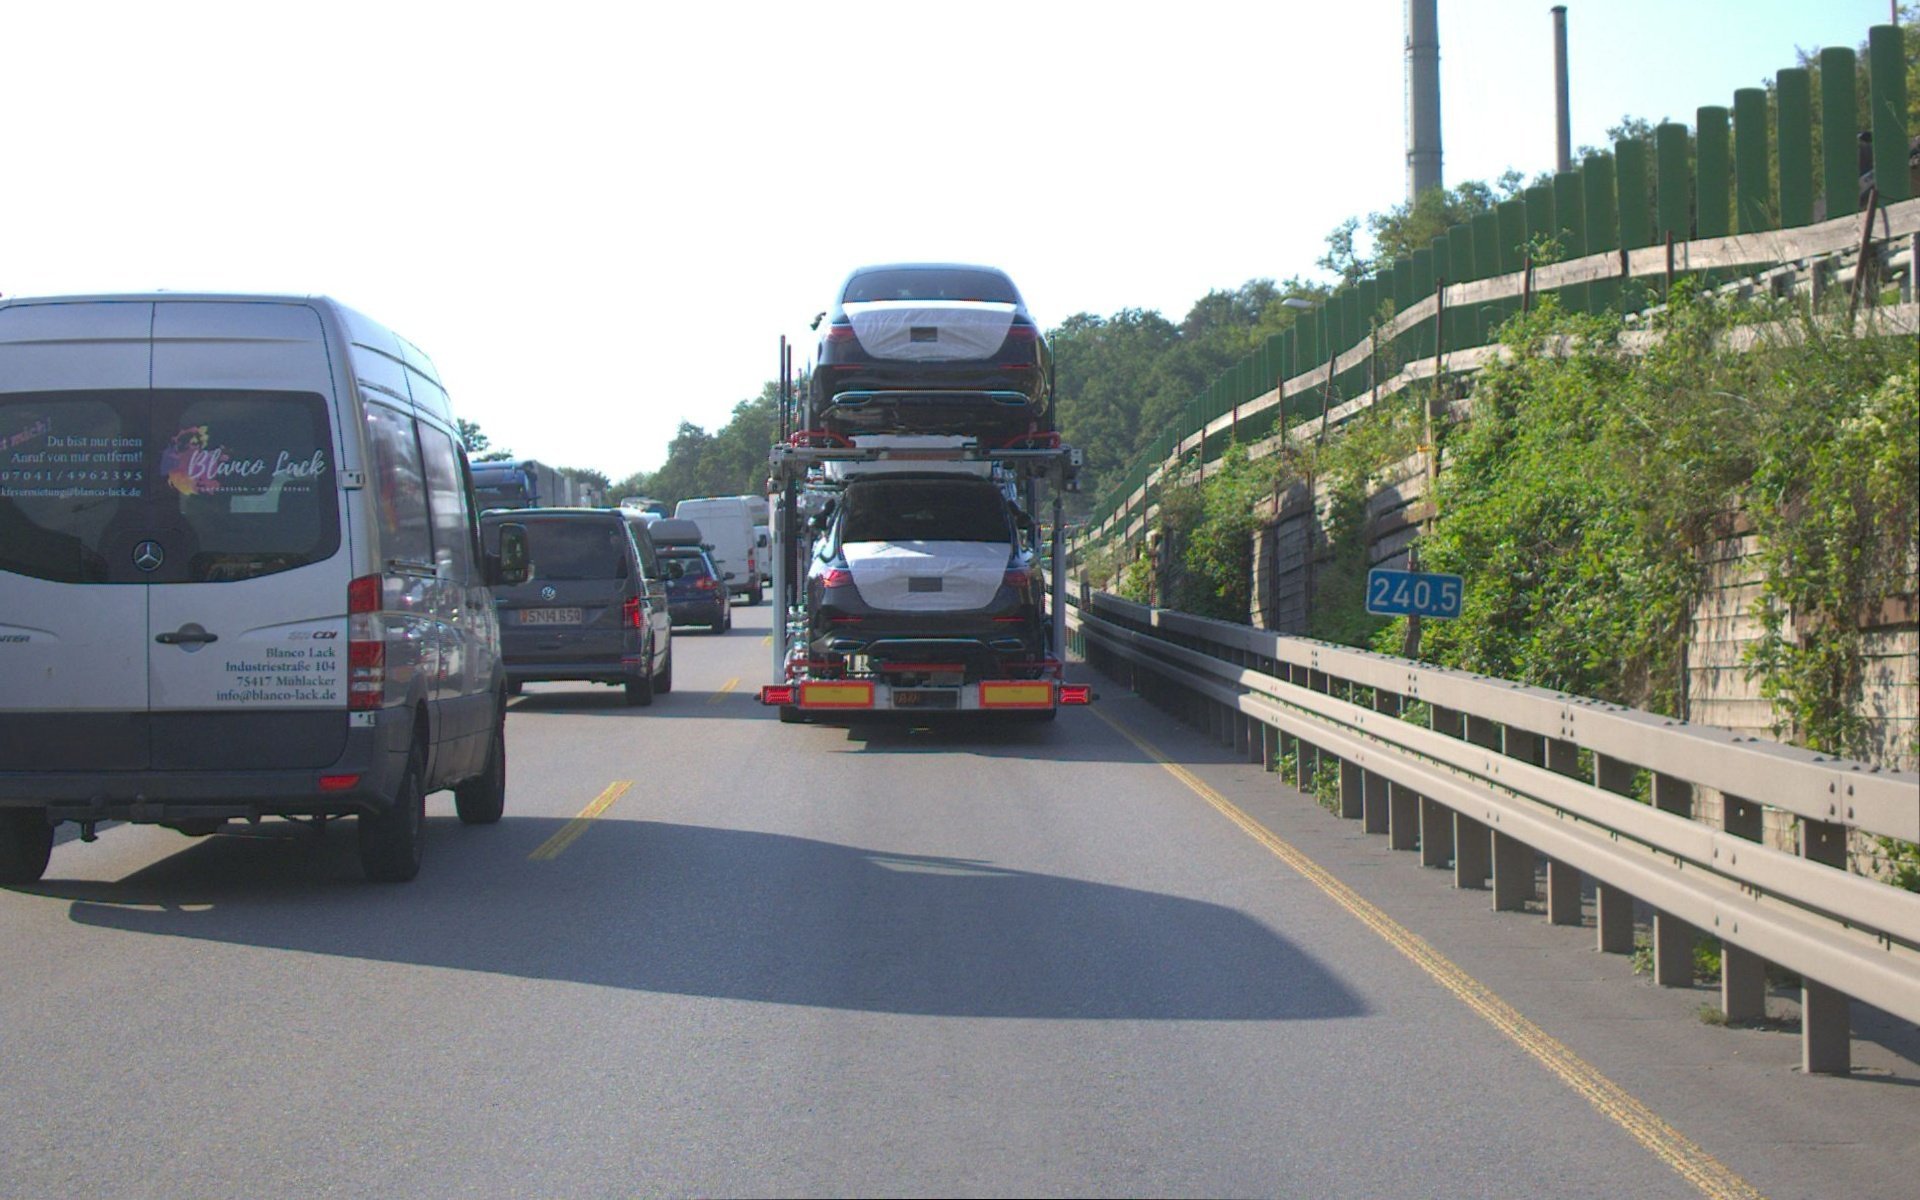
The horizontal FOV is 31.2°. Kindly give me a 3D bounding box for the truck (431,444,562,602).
[{"bbox_3d":[-12.991,-2.161,97.049,2.624,4.098,9.629,-3,1,-2],"label":"truck"}]

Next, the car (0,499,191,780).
[{"bbox_3d":[-7.378,0.218,26.066,1.985,1.916,5.291,1,1,-1],"label":"car"}]

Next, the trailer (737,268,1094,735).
[{"bbox_3d":[-0.402,-0.770,33.688,2.682,3.523,15.289,0,0,0],"label":"trailer"}]

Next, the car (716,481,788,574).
[{"bbox_3d":[-11.585,-3.980,190.811,3.444,5.018,9.655,0,1,-6],"label":"car"}]

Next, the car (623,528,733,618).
[{"bbox_3d":[-4.911,-0.492,60.169,1.725,1.517,3.974,0,1,-2],"label":"car"}]

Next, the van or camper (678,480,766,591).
[{"bbox_3d":[-5.741,-1.517,83.445,1.968,2.583,5.042,0,0,-2],"label":"van or camper"}]

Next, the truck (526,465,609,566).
[{"bbox_3d":[-17.031,-3.600,150.075,2.982,4.139,15.858,0,1,-4],"label":"truck"}]

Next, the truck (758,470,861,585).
[{"bbox_3d":[-6.251,-3.012,144.717,4.065,4.663,10.593,-1,1,-1],"label":"truck"}]

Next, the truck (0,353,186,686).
[{"bbox_3d":[-11.116,-0.775,39.406,2.714,3.413,8.141,-3,0,-2],"label":"truck"}]

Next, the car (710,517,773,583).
[{"bbox_3d":[-7.067,-1.624,111.658,1.885,2.093,3.766,0,1,-1],"label":"car"}]

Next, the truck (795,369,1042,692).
[{"bbox_3d":[-0.481,-0.775,41.257,2.682,3.523,7.194,0,0,0],"label":"truck"}]

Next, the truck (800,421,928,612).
[{"bbox_3d":[-2.488,-2.059,86.554,2.907,4.591,7.287,-1,1,-4],"label":"truck"}]

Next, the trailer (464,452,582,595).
[{"bbox_3d":[-13.458,-2.389,106.620,2.605,4.098,9.629,-3,2,-2],"label":"trailer"}]

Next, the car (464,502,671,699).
[{"bbox_3d":[-3.964,0.014,35.258,1.808,1.897,4.000,0,0,-2],"label":"car"}]

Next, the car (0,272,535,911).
[{"bbox_3d":[-3.438,-0.081,17.077,1.993,2.639,5.531,-1,1,-1],"label":"car"}]
